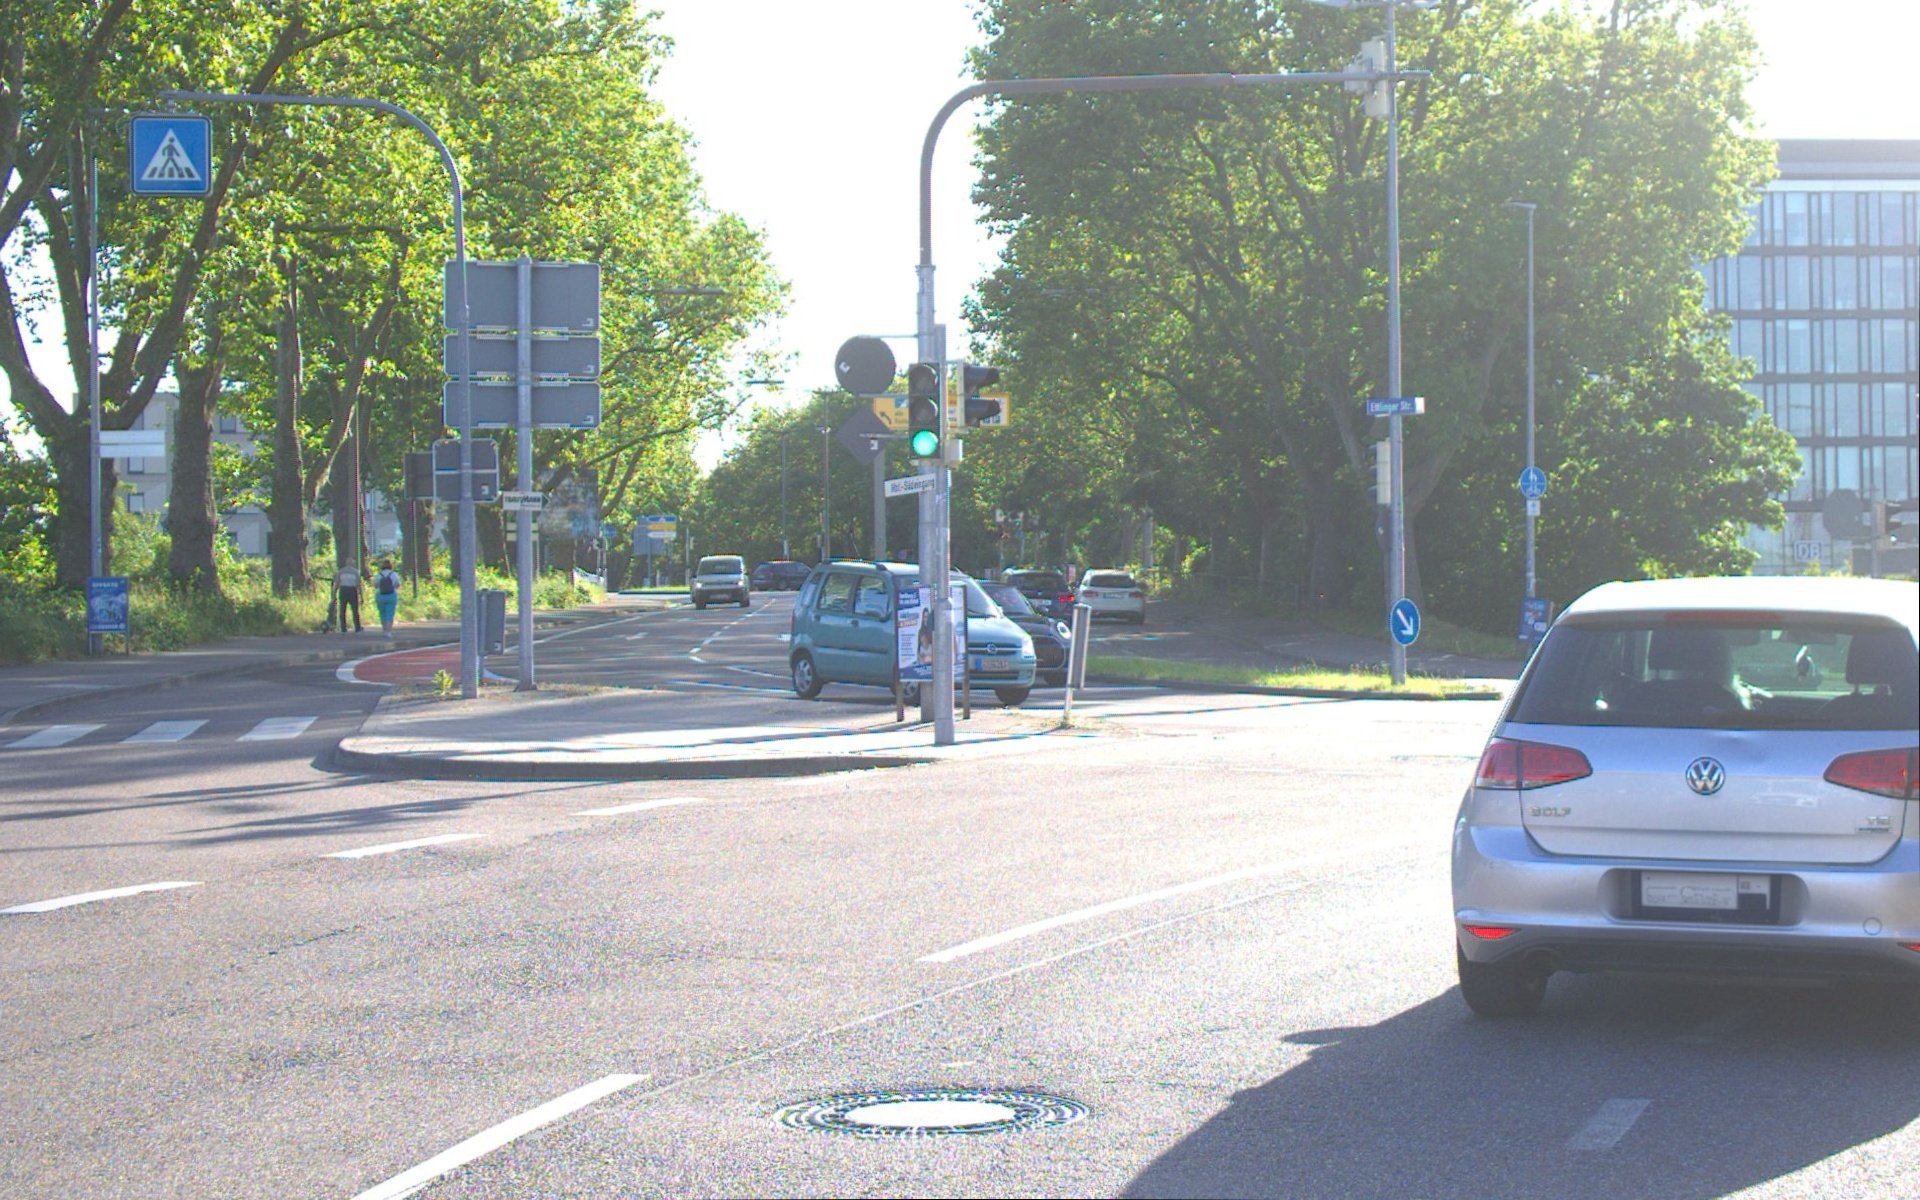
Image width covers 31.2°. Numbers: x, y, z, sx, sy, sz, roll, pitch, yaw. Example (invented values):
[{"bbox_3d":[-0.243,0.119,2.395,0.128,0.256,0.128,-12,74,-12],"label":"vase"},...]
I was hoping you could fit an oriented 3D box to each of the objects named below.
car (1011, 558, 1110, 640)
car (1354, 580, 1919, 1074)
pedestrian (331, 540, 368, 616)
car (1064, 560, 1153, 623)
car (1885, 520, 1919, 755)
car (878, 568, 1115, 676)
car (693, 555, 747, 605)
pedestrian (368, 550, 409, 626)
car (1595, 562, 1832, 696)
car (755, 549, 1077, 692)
[{"bbox_3d":[2.173,-0.043,75.428,1.853,1.737,4.266,0,0,-3],"label":"car"},{"bbox_3d":[2.818,0.647,12.053,1.972,1.422,3.933,0,0,20],"label":"car"},{"bbox_3d":[-12.883,-0.464,72.543,0.663,1.581,0.631,0,0,-1],"label":"pedestrian"},{"bbox_3d":[3.964,-0.248,92.479,1.853,1.644,4.267,0,0,-5],"label":"car"},{"bbox_3d":[9.124,0.305,29.657,2.114,1.881,4.809,0,0,16],"label":"car"},{"bbox_3d":[0.452,0.283,47.919,1.902,1.422,3.938,1,0,-22],"label":"car"},{"bbox_3d":[-8.462,-0.708,121.416,1.853,1.737,4.267,0,0,-4],"label":"car"},{"bbox_3d":[-12.030,-0.257,72.393,0.728,1.586,0.804,0,0,-1],"label":"pedestrian"},{"bbox_3d":[10.004,0.352,45.980,1.942,1.707,4.201,0,0,-5],"label":"car"},{"bbox_3d":[-0.582,0.218,41.422,1.914,1.630,4.121,1,0,-34],"label":"car"}]
